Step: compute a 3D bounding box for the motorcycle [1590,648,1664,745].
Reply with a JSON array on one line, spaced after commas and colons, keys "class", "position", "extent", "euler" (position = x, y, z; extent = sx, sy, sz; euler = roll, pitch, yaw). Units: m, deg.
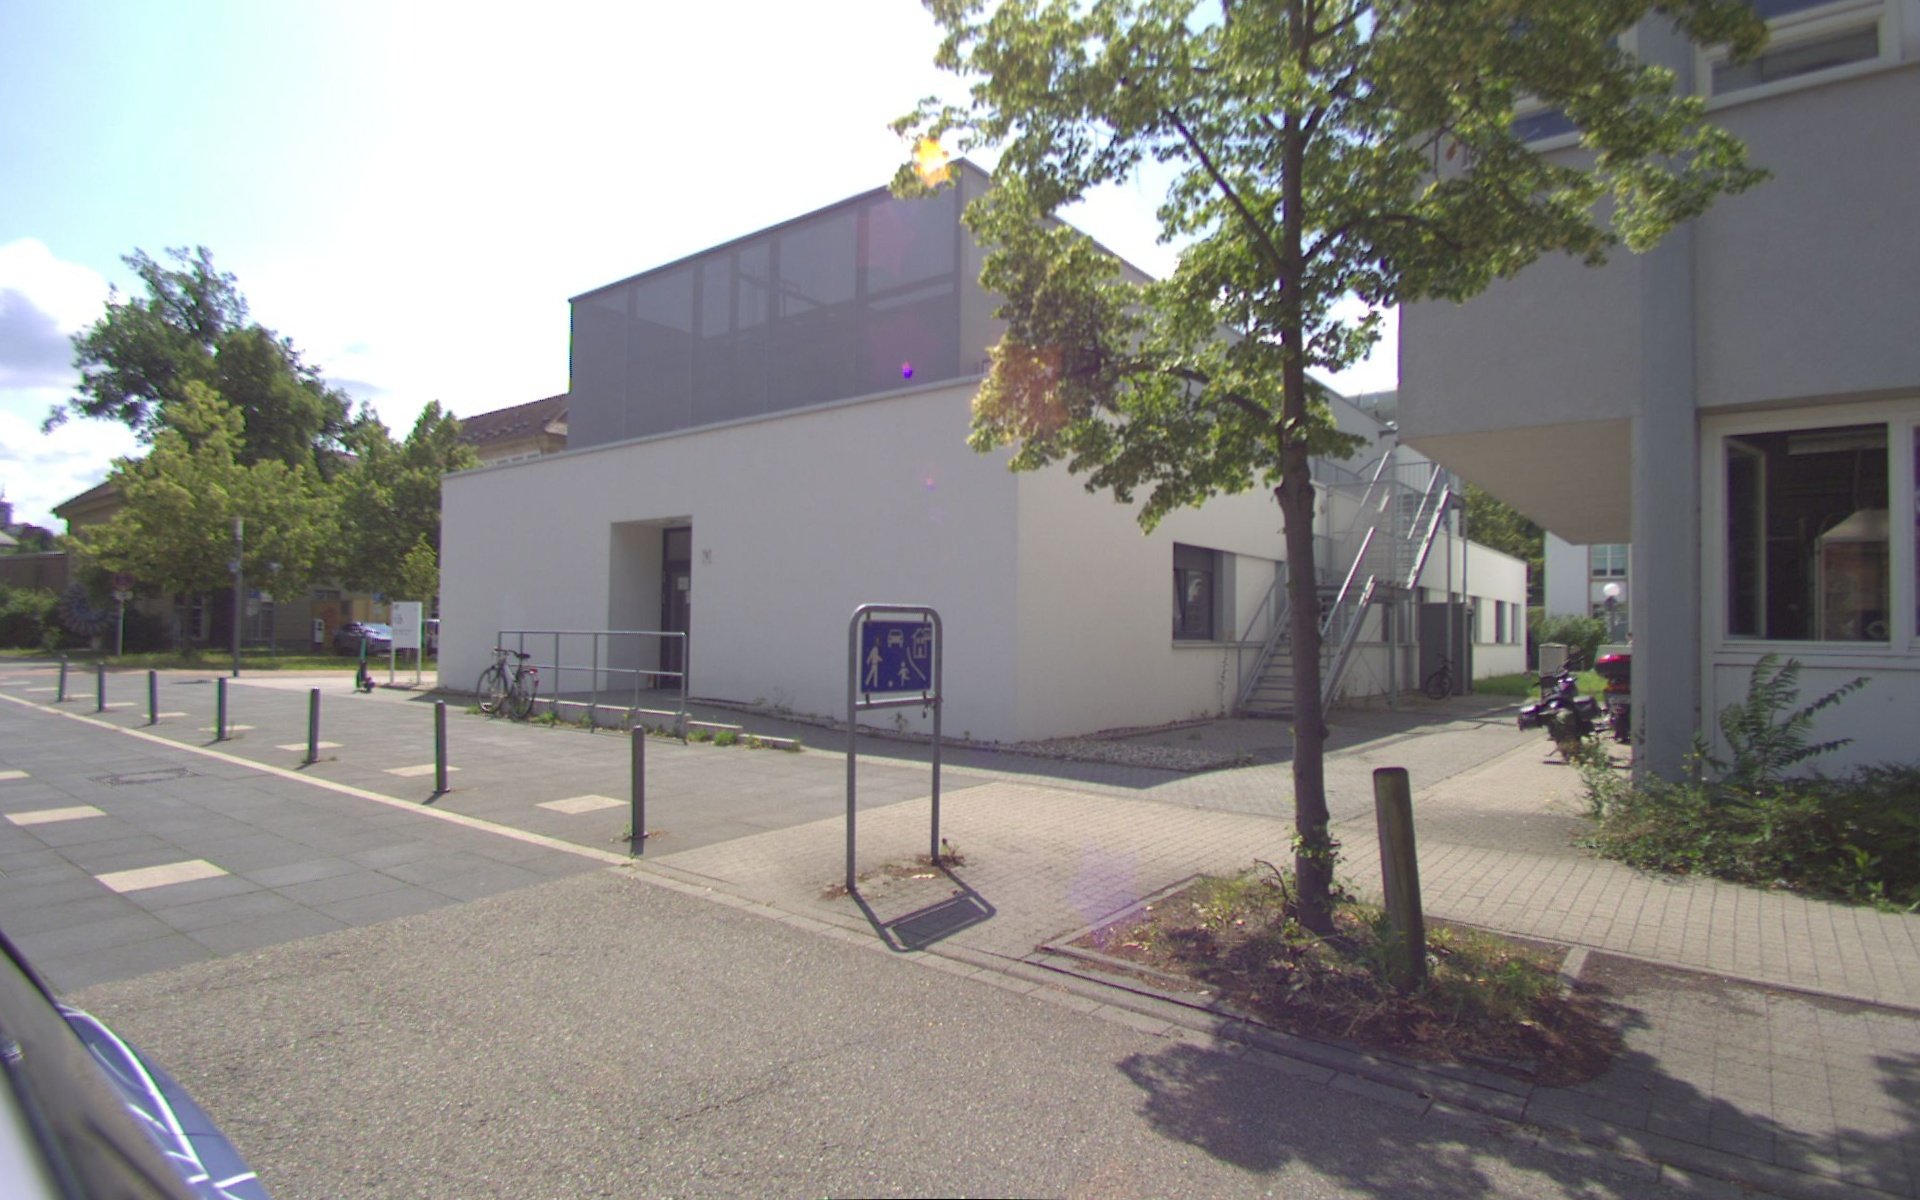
[{"class": "motorcycle", "position": [9.372, 1.312, 14.190], "extent": [0.631, 1.256, 1.759], "euler": [-1, -3, 41]}]

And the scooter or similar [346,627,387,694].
[{"class": "scooter or similar", "position": [-11.762, 1.178, 20.052], "extent": [0.476, 1.272, 1.316], "euler": [2, -2, -39]}]

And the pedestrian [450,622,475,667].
[{"class": "pedestrian", "position": [-20.398, 1.816, 41.488], "extent": [0.858, 1.800, 0.638], "euler": [2, 1, -25]}]

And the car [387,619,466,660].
[{"class": "car", "position": [-25.833, 1.880, 48.961], "extent": [4.118, 1.799, 1.790], "euler": [1, -2, 38]}]

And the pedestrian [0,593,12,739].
[{"class": "pedestrian", "position": [-12.688, 0.821, 12.740], "extent": [1.141, 1.831, 0.816], "euler": [-1, -2, 33]}]

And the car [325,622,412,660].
[{"class": "car", "position": [-27.568, 1.878, 47.124], "extent": [4.643, 1.593, 1.876], "euler": [1, -2, 38]}]

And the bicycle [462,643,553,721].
[{"class": "bicycle", "position": [-6.758, 1.185, 15.054], "extent": [1.899, 1.069, 0.537], "euler": [-1, -3, 44]}]

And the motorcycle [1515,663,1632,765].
[{"class": "motorcycle", "position": [7.338, 1.299, 12.054], "extent": [0.881, 1.050, 2.154], "euler": [-1, -3, 39]}]

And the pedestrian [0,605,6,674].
[{"class": "pedestrian", "position": [-26.311, 1.035, 26.908], "extent": [1.007, 1.862, 0.919], "euler": [3, -4, -21]}]

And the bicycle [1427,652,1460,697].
[{"class": "bicycle", "position": [11.017, 1.685, 23.048], "extent": [0.444, 0.981, 0.968], "euler": [-1, -3, 41]}]
